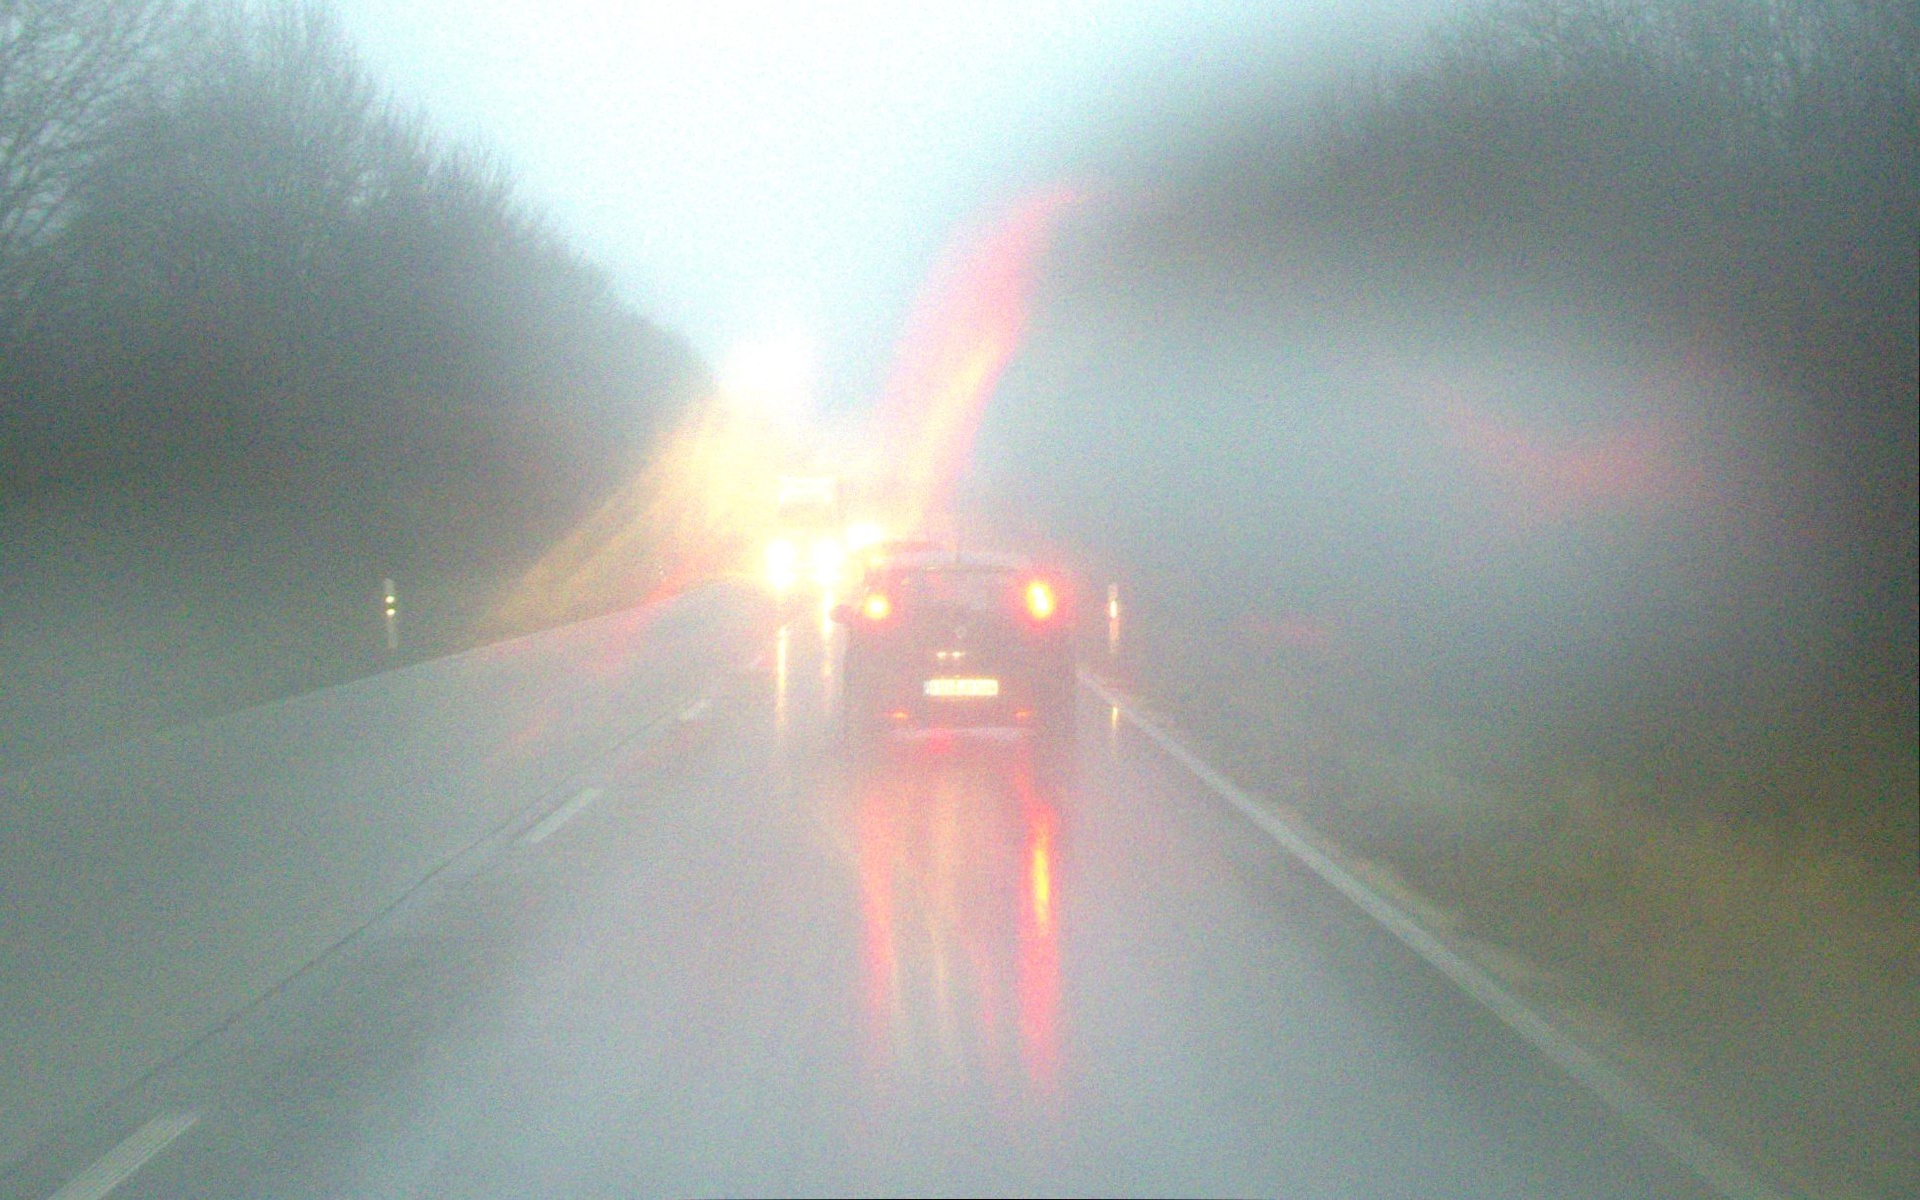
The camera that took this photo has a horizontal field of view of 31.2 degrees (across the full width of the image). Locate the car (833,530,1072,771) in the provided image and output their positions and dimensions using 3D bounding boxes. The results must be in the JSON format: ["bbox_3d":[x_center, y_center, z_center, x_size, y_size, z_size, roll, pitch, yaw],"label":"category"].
[{"bbox_3d":[-0.072,0.323,25.563,1.648,1.666,3.514,0,1,-1],"label":"car"}]

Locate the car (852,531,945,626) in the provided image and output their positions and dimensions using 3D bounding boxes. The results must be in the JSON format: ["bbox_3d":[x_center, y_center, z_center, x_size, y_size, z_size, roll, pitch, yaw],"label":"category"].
[{"bbox_3d":[-1.194,-0.436,66.200,1.733,1.773,4.000,0,1,-1],"label":"car"}]
